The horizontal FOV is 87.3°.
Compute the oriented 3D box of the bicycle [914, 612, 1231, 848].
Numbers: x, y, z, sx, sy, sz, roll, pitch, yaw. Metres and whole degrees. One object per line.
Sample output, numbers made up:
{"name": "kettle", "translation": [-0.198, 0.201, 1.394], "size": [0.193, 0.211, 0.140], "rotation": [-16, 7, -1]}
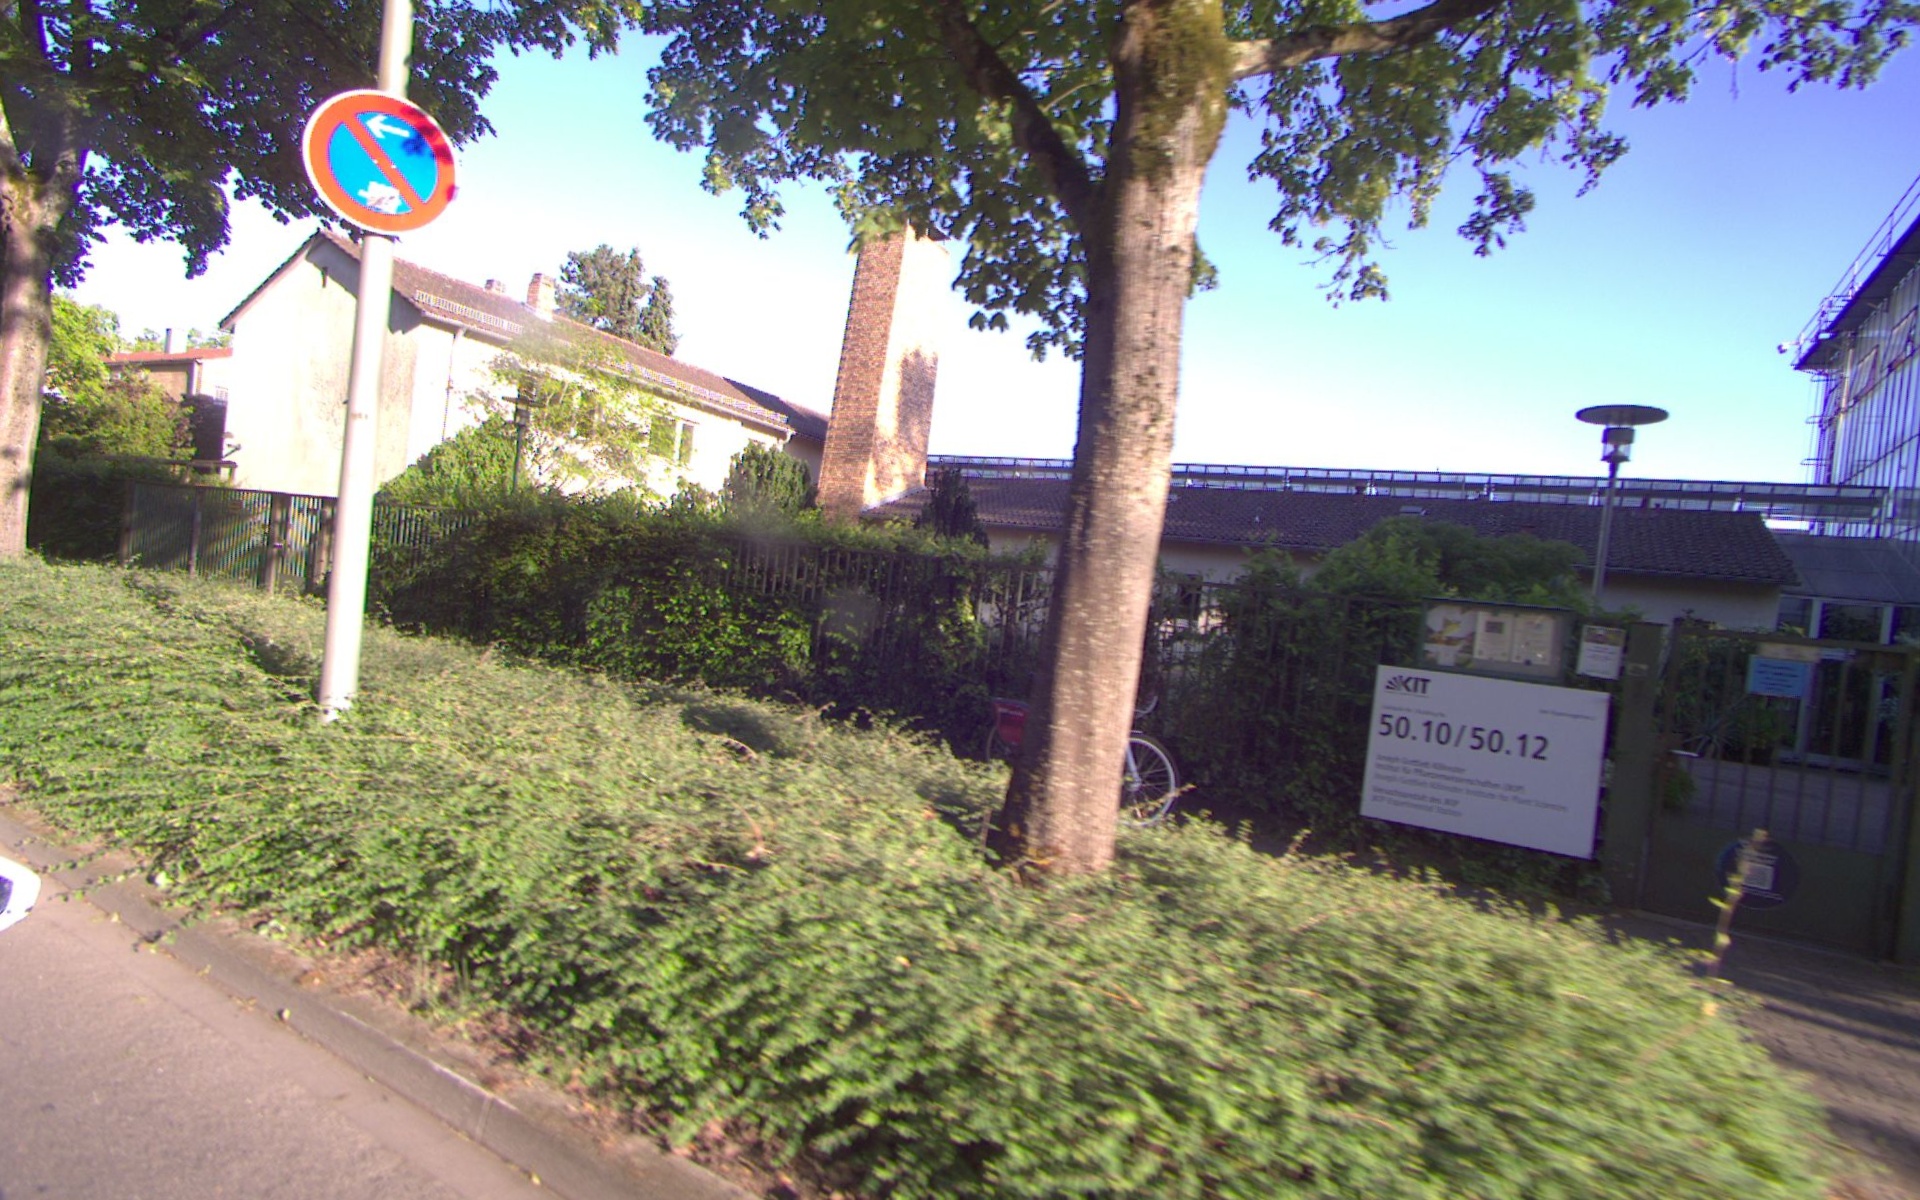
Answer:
{"name": "bicycle", "translation": [0.696, 0.827, 7.247], "size": [0.877, 1.216, 2.304], "rotation": [4, 3, -34]}
